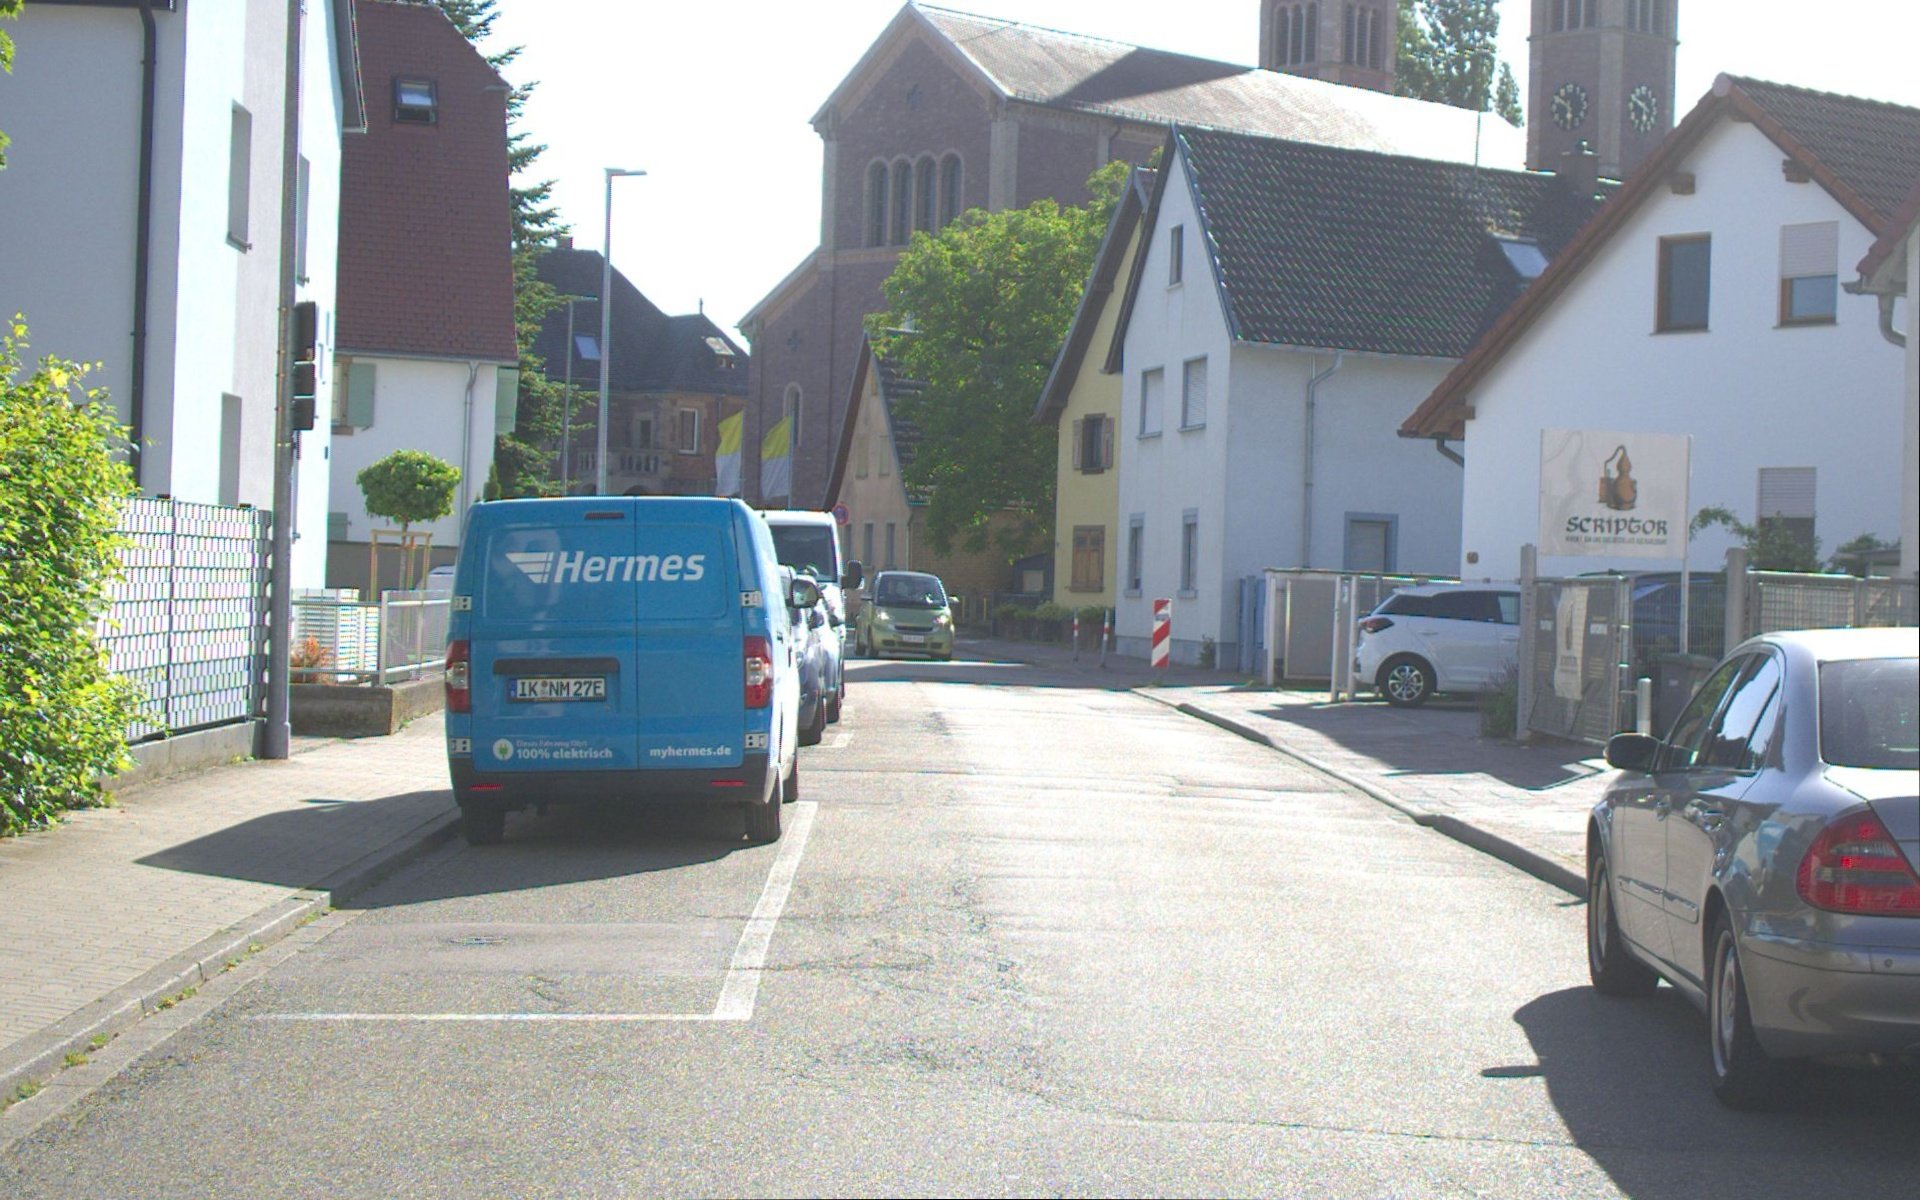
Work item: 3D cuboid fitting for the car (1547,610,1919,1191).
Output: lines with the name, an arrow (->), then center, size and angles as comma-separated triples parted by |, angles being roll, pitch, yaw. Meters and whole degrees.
car -> 3.186, 0.834, 11.404 | 1.811, 1.470, 4.659 | 2, 1, 3

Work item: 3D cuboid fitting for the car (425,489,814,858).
car -> -1.886, 0.352, 20.498 | 1.902, 1.911, 5.070 | 0, 1, -1

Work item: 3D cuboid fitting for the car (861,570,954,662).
car -> -0.947, 0.271, 60.955 | 1.574, 1.541, 2.966 | 1, 1, -1

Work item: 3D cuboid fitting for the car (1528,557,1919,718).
car -> 8.527, 0.397, 38.184 | 4.036, 1.682, 1.912 | 0, 1, -29

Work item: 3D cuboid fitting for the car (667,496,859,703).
car -> -2.367, -0.052, 42.805 | 2.197, 2.382, 6.065 | 0, 1, -1

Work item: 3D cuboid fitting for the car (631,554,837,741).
car -> -2.015, 0.384, 31.545 | 1.714, 1.593, 3.925 | 1, 1, -2

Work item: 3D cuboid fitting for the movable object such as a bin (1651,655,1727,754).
movable object such as a bin -> 7.024, 1.007, 33.130 | 0.515, 0.920, 0.423 | 4, -1, -31

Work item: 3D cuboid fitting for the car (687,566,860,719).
car -> -1.936, 0.407, 36.706 | 1.711, 1.499, 4.235 | 1, 1, -2

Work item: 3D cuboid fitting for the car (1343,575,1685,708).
car -> 6.560, 0.476, 40.970 | 3.913, 1.487, 1.846 | 1, 0, 8
